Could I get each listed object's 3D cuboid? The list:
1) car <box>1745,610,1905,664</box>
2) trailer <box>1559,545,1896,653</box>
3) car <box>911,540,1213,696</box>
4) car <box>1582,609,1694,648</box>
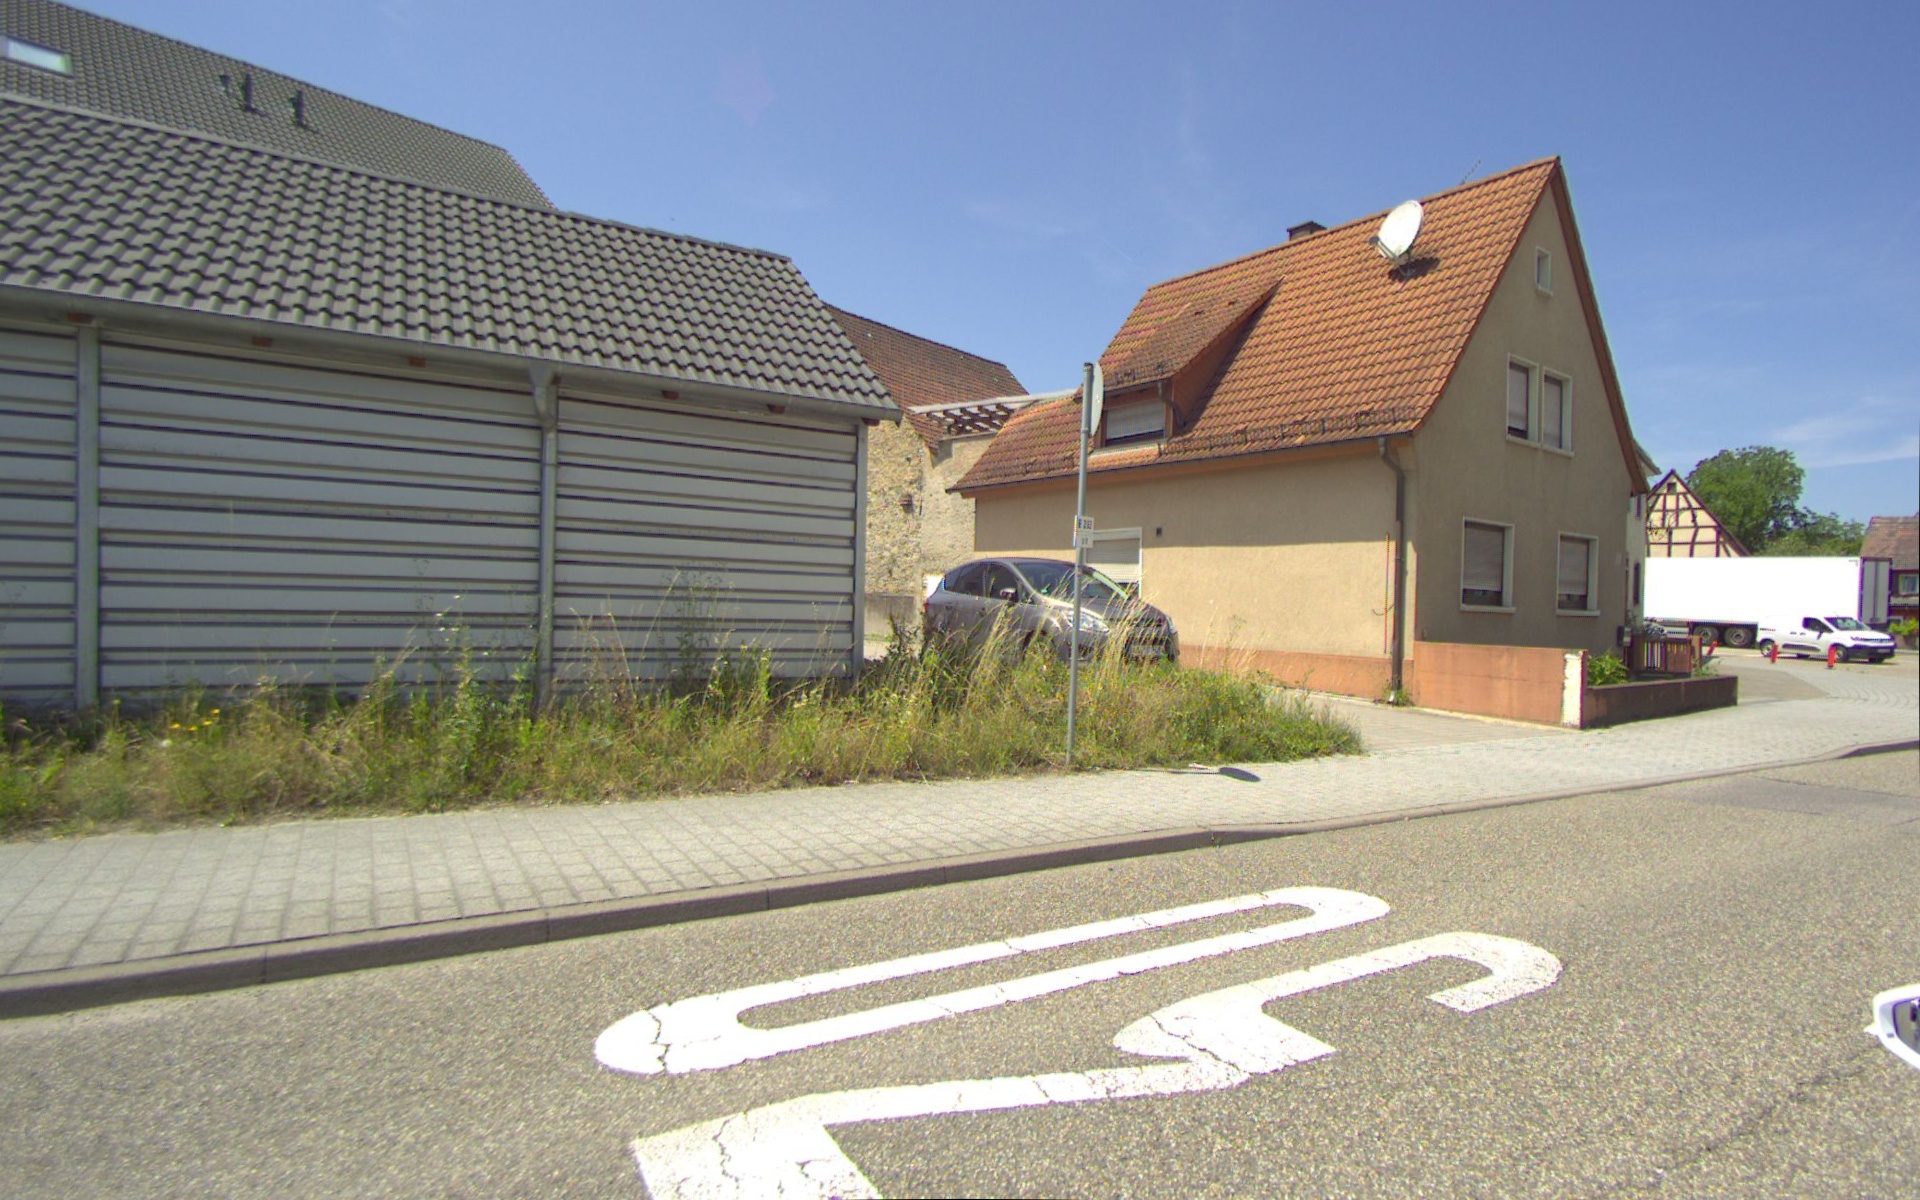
[{"bbox_3d":[33.022,1.377,38.549,1.845,1.809,4.514,1,1,-9],"label":"car"},{"bbox_3d":[35.089,-0.117,47.012,3.101,4.334,12.413,2,0,-26],"label":"trailer"},{"bbox_3d":[1.110,0.224,12.915,1.843,1.660,4.106,2,-1,-29],"label":"car"},{"bbox_3d":[31.342,1.305,46.561,1.771,1.544,3.981,2,1,-20],"label":"car"}]
